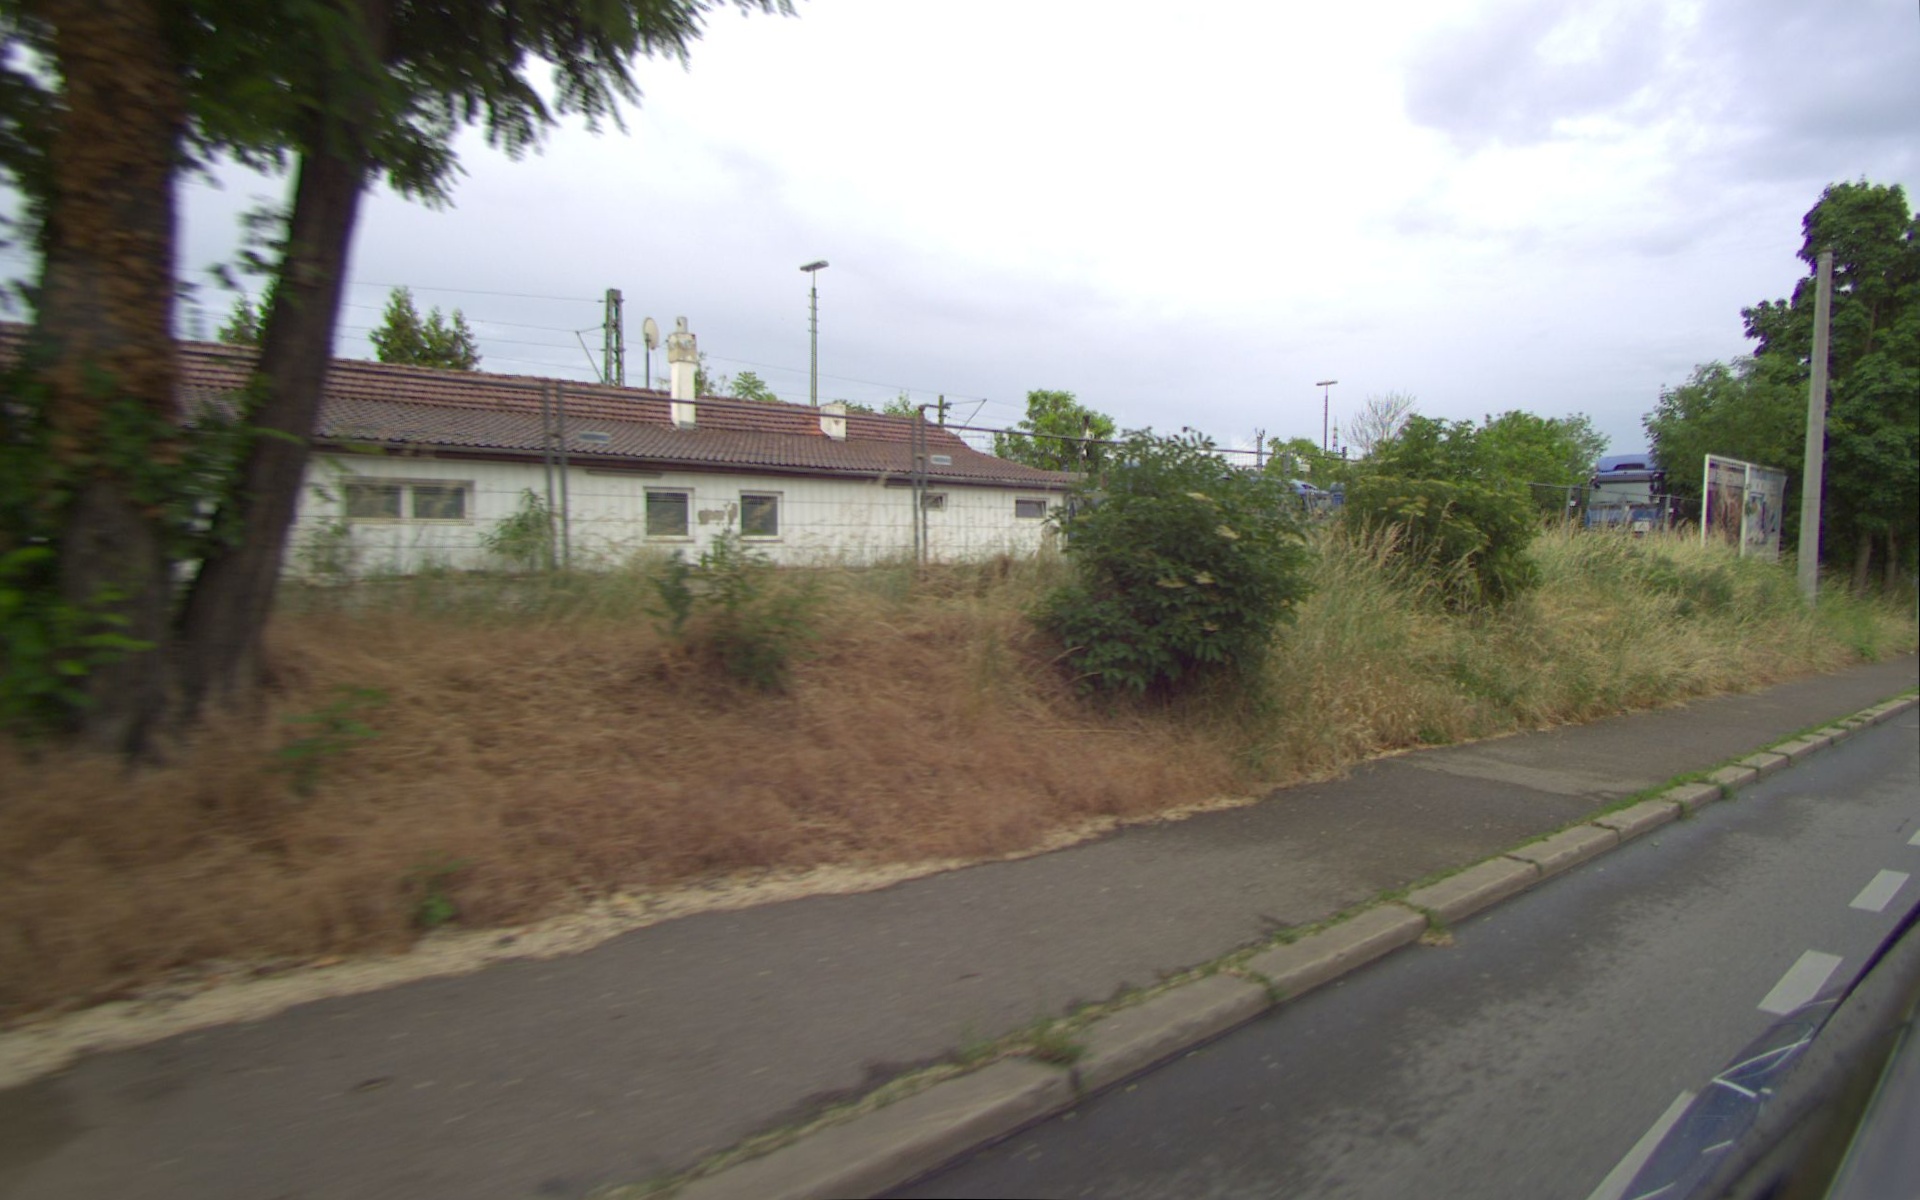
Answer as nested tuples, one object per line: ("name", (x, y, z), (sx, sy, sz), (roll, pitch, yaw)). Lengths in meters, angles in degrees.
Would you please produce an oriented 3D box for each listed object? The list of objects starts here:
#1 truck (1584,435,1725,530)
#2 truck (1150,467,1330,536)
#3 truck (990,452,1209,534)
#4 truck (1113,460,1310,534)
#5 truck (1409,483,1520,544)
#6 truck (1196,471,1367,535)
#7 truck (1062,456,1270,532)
("truck", (23.464, -3.818, 34.102), (5.947, 2.684, 2.288), (-3, -2, -40))
("truck", (12.561, -4.365, 46.074), (2.543, 2.890, 7.723), (-3, 4, -42))
("truck", (4.885, -3.778, 37.131), (2.543, 2.648, 8.311), (-3, 4, -42))
("truck", (10.380, -4.199, 42.609), (2.543, 2.771, 8.019), (-3, 4, -42))
("truck", (29.419, -4.922, 58.714), (9.475, 3.235, 2.255), (-3, 3, -40))
("truck", (15.463, -4.592, 49.242), (2.543, 2.848, 7.750), (-3, 4, -42))
("truck", (7.882, -4.022, 39.847), (2.543, 2.686, 8.105), (-3, 4, -42))
